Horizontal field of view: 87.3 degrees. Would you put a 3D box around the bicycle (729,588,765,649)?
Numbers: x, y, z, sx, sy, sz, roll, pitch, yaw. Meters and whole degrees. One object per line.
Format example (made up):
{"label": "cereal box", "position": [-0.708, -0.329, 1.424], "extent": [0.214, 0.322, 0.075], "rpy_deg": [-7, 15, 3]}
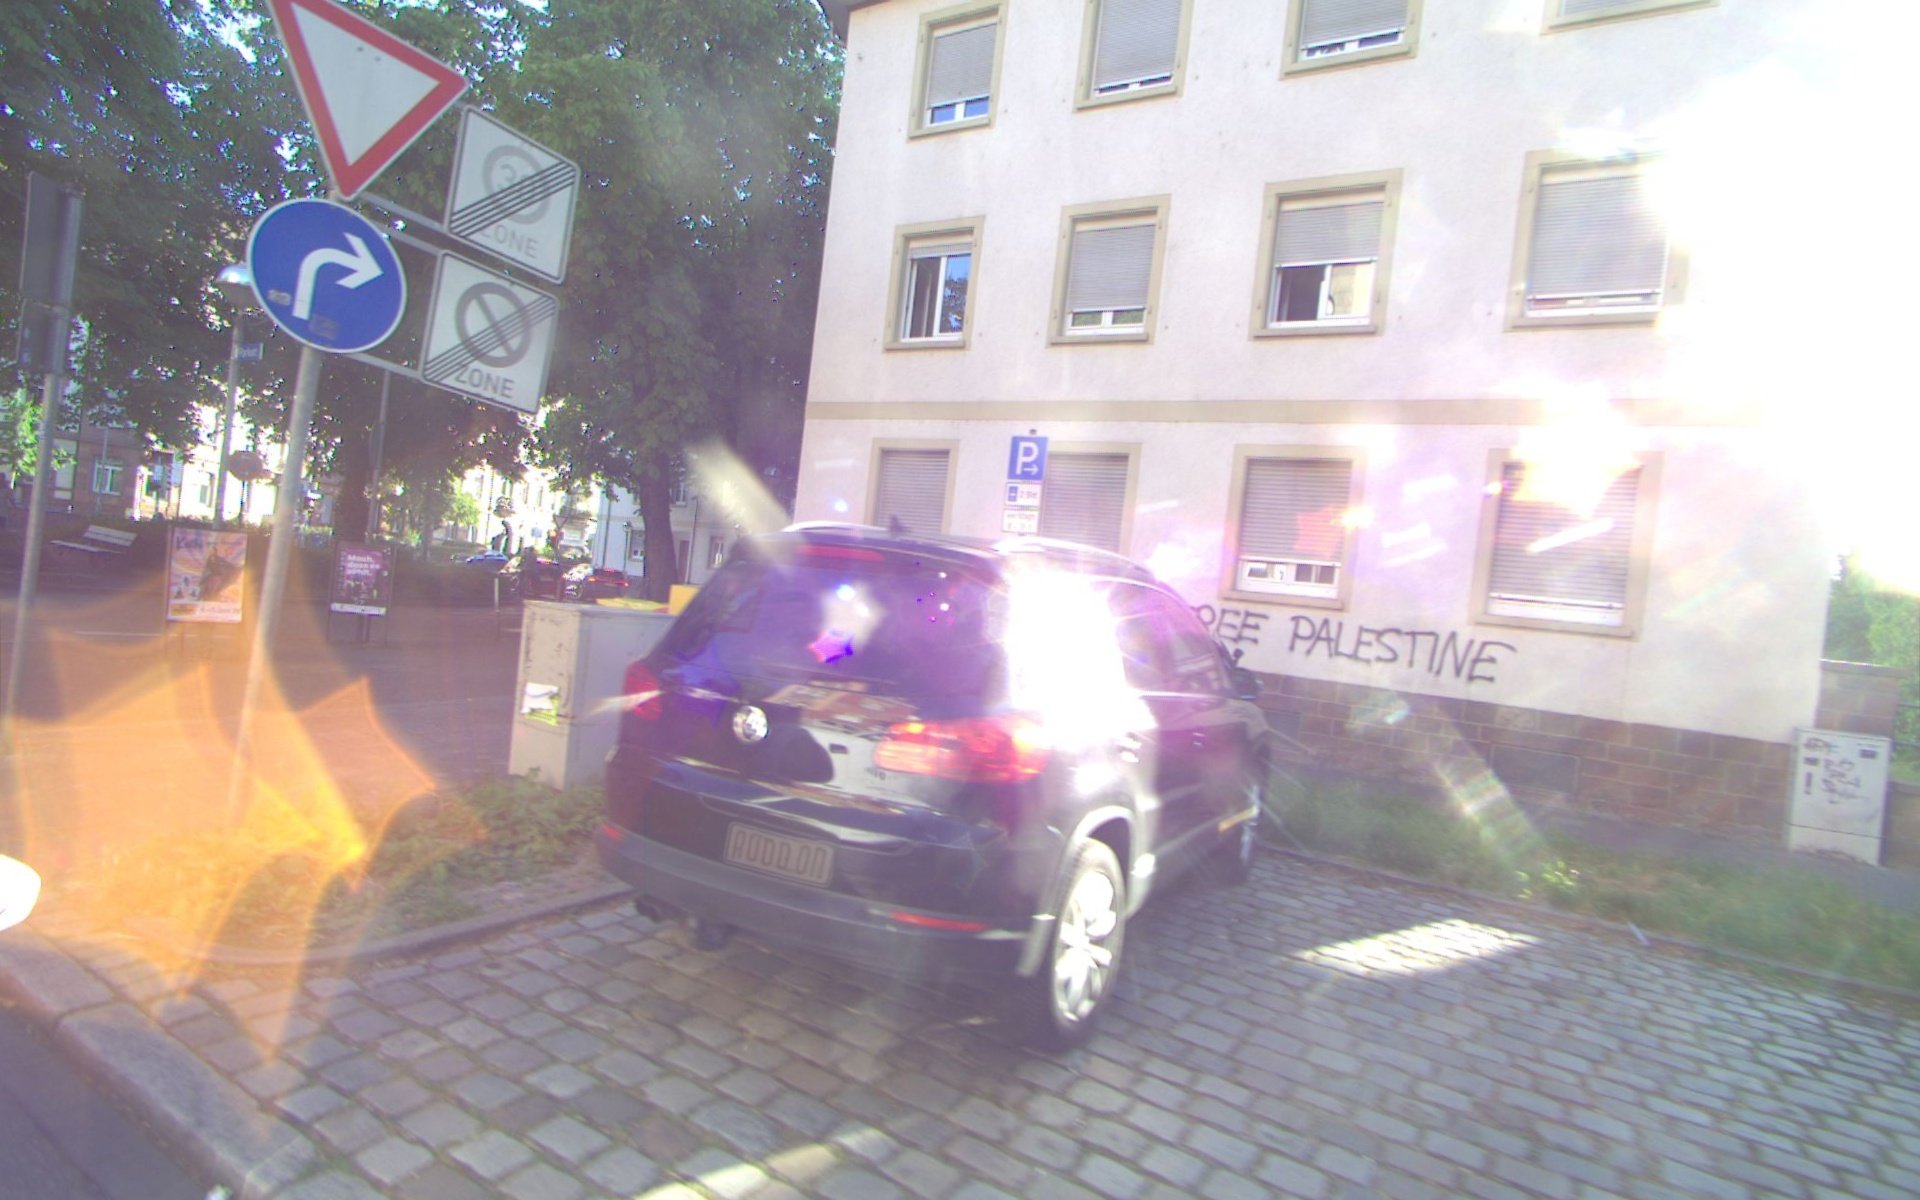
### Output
{"label": "bicycle", "position": [-4.448, 0.368, 21.059], "extent": [0.431, 1.195, 1.783], "rpy_deg": [6, 0, -6]}

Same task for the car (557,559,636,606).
{"label": "car", "position": [-15.411, -0.765, 42.550], "extent": [1.882, 1.597, 3.958], "rpy_deg": [7, 0, -38]}

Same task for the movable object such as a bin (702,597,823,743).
{"label": "movable object such as a bin", "position": [-1.747, 0.612, 8.906], "extent": [0.690, 1.167, 0.632], "rpy_deg": [7, 1, 32]}

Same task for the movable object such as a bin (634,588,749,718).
{"label": "movable object such as a bin", "position": [-2.482, 0.489, 9.314], "extent": [0.694, 1.089, 0.629], "rpy_deg": [7, 1, 32]}

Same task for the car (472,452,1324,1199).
{"label": "car", "position": [0.275, 0.579, 4.695], "extent": [1.989, 1.735, 4.112], "rpy_deg": [8, 1, 27]}

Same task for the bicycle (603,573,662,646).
{"label": "bicycle", "position": [-5.952, 0.164, 18.345], "extent": [0.545, 1.197, 1.788], "rpy_deg": [6, 0, -6]}

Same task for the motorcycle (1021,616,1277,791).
{"label": "motorcycle", "position": [1.821, 0.939, 9.688], "extent": [2.143, 1.296, 0.977], "rpy_deg": [7, 1, 23]}

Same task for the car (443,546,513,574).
{"label": "car", "position": [-33.387, -2.767, 69.820], "extent": [1.962, 1.516, 4.373], "rpy_deg": [7, 1, 12]}

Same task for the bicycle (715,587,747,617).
{"label": "bicycle", "position": [-9.729, 0.074, 42.751], "extent": [0.577, 1.128, 2.099], "rpy_deg": [5, 1, -32]}

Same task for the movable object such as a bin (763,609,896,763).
{"label": "movable object such as a bin", "position": [-1.101, 0.719, 8.529], "extent": [0.690, 1.167, 0.738], "rpy_deg": [7, 1, 32]}

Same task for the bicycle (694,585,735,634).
{"label": "bicycle", "position": [-6.400, 0.238, 26.299], "extent": [0.669, 1.173, 1.999], "rpy_deg": [5, 0, -5]}

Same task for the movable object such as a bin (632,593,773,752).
{"label": "movable object such as a bin", "position": [-2.099, 0.583, 8.226], "extent": [0.690, 1.167, 0.738], "rpy_deg": [7, 1, 32]}

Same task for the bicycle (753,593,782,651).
{"label": "bicycle", "position": [-4.042, 0.437, 21.180], "extent": [0.385, 1.123, 1.800], "rpy_deg": [6, 0, -7]}

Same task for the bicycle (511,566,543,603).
{"label": "bicycle", "position": [-15.593, -0.577, 36.220], "extent": [0.594, 1.176, 2.023], "rpy_deg": [6, 0, -34]}

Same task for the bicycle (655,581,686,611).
{"label": "bicycle", "position": [-12.071, -0.171, 41.903], "extent": [0.611, 1.072, 1.910], "rpy_deg": [4, 2, -34]}

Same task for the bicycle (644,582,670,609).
{"label": "bicycle", "position": [-13.021, -0.193, 43.176], "extent": [0.515, 1.011, 2.175], "rpy_deg": [6, 0, -29]}

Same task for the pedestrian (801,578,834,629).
{"label": "pedestrian", "position": [-5.405, 0.133, 38.127], "extent": [0.984, 1.818, 0.656], "rpy_deg": [5, 2, -23]}

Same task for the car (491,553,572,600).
{"label": "car", "position": [-17.083, -0.955, 40.008], "extent": [1.804, 1.563, 3.914], "rpy_deg": [4, 1, -40]}

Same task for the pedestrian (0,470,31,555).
{"label": "pedestrian", "position": [-20.044, -1.855, 20.897], "extent": [0.769, 1.705, 0.914], "rpy_deg": [7, 1, 42]}

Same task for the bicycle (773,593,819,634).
{"label": "bicycle", "position": [-5.191, 0.418, 31.763], "extent": [0.666, 1.197, 1.806], "rpy_deg": [4, 0, -34]}

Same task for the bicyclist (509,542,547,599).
{"label": "bicyclist", "position": [-15.574, -1.081, 36.267], "extent": [0.845, 1.922, 1.128], "rpy_deg": [6, 1, -37]}

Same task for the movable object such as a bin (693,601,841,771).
{"label": "movable object such as a bin", "position": [-1.487, 0.652, 7.800], "extent": [0.704, 1.167, 0.738], "rpy_deg": [7, 1, 32]}

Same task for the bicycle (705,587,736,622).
{"label": "bicycle", "position": [-8.472, 0.137, 35.562], "extent": [0.609, 1.128, 1.980], "rpy_deg": [3, 2, -25]}

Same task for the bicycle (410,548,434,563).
{"label": "bicycle", "position": [-38.392, -3.150, 71.778], "extent": [0.442, 0.872, 1.445], "rpy_deg": [7, 0, 27]}

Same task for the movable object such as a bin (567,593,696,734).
{"label": "movable object such as a bin", "position": [-2.784, 0.531, 8.546], "extent": [0.683, 1.077, 0.657], "rpy_deg": [7, 1, 32]}
